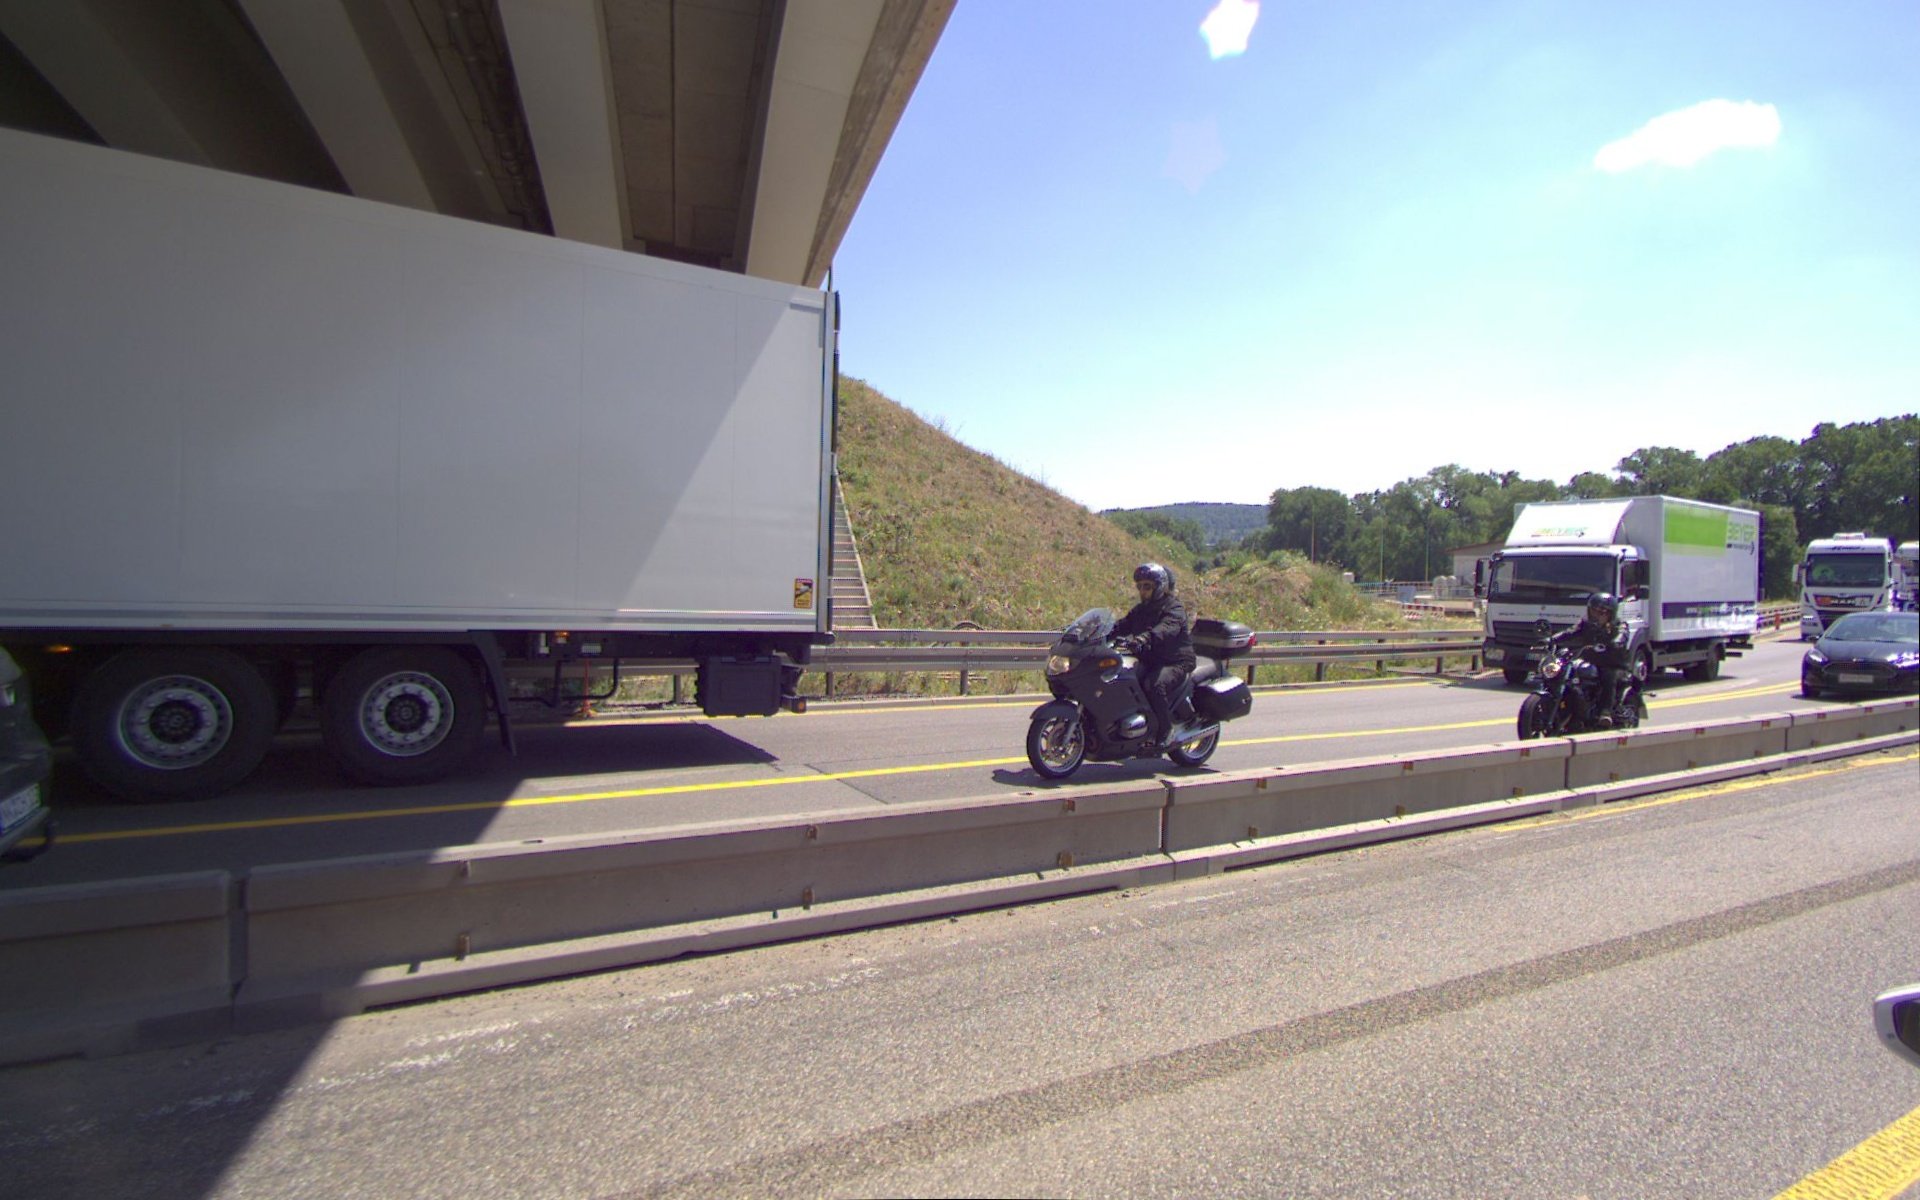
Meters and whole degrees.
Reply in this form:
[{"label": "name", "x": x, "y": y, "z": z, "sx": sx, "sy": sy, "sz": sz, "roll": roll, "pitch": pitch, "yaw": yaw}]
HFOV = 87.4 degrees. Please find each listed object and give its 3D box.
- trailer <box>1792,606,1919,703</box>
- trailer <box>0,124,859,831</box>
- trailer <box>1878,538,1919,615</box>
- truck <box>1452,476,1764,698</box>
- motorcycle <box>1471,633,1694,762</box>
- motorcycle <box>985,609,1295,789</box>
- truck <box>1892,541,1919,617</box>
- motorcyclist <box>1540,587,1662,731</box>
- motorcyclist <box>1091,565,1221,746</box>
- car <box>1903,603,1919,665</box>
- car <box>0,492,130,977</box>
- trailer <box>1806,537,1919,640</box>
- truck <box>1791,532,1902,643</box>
[{"label": "trailer", "x": 15.929, "y": 0.878, "z": 17.265, "sx": 3.964, "sy": 1.450, "sz": 1.652, "roll": 1, "pitch": 0, "yaw": -38}, {"label": "trailer", "x": -7.702, "y": -0.774, "z": 6.202, "sx": 14.194, "sy": 4.094, "sz": 2.861, "roll": 1, "pitch": 2, "yaw": -31}, {"label": "trailer", "x": 55.199, "y": -1.319, "z": 57.539, "sx": 5.169, "sy": 4.286, "sz": 2.845, "roll": 0, "pitch": 1, "yaw": -37}, {"label": "truck", "x": 13.282, "y": -0.211, "z": 20.212, "sx": 8.426, "sy": 3.623, "sz": 2.794, "roll": 1, "pitch": 1, "yaw": -39}, {"label": "motorcycle", "x": 6.507, "y": 0.952, "z": 10.428, "sx": 2.760, "sy": 1.165, "sz": 0.828, "roll": 2, "pitch": 0, "yaw": -33}, {"label": "motorcycle", "x": 1.549, "y": 0.765, "z": 8.321, "sx": 2.703, "sy": 1.296, "sz": 0.699, "roll": 2, "pitch": 0, "yaw": -31}, {"label": "truck", "x": 62.199, "y": -1.279, "z": 62.519, "sx": 15.216, "sy": 4.401, "sz": 2.789, "roll": -1, "pitch": 2, "yaw": -35}, {"label": "motorcyclist", "x": 6.772, "y": 0.605, "z": 10.620, "sx": 0.734, "sy": 1.435, "sz": 0.806, "roll": 3, "pitch": 0, "yaw": -31}, {"label": "motorcyclist", "x": 1.643, "y": 0.448, "z": 8.445, "sx": 0.734, "sy": 1.435, "sz": 0.714, "roll": 3, "pitch": 0, "yaw": -31}, {"label": "car", "x": 25.590, "y": 0.834, "z": 25.479, "sx": 4.484, "sy": 1.484, "sz": 1.830, "roll": -1, "pitch": 2, "yaw": -39}, {"label": "car", "x": -5.462, "y": 0.439, "z": 3.244, "sx": 4.031, "sy": 1.693, "sz": 1.738, "roll": 1, "pitch": 1, "yaw": -30}, {"label": "trailer", "x": 37.771, "y": -0.442, "z": 41.848, "sx": 10.171, "sy": 3.840, "sz": 2.502, "roll": 0, "pitch": 2, "yaw": -43}, {"label": "truck", "x": 33.293, "y": -0.481, "z": 37.691, "sx": 4.914, "sy": 3.873, "sz": 2.510, "roll": 0, "pitch": 2, "yaw": -43}]
